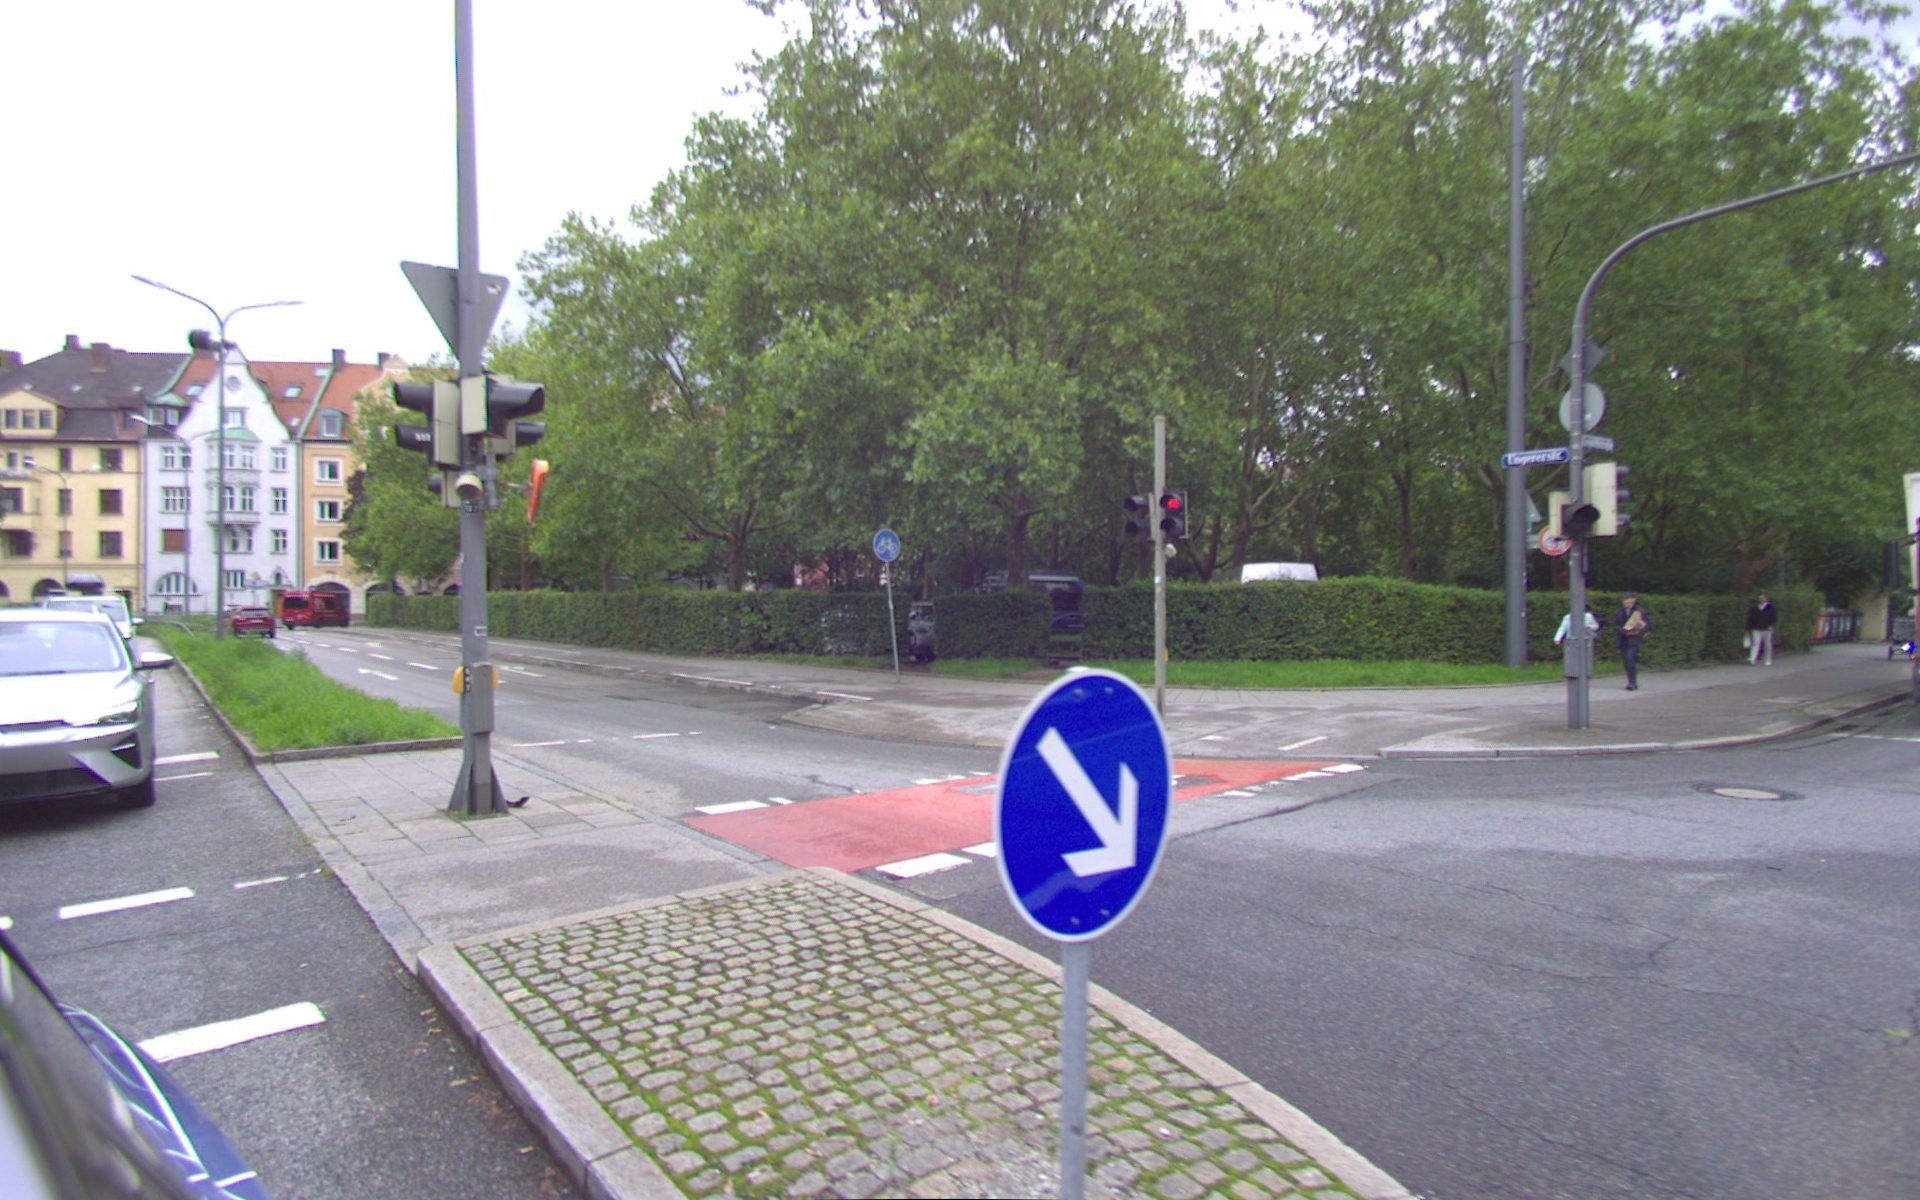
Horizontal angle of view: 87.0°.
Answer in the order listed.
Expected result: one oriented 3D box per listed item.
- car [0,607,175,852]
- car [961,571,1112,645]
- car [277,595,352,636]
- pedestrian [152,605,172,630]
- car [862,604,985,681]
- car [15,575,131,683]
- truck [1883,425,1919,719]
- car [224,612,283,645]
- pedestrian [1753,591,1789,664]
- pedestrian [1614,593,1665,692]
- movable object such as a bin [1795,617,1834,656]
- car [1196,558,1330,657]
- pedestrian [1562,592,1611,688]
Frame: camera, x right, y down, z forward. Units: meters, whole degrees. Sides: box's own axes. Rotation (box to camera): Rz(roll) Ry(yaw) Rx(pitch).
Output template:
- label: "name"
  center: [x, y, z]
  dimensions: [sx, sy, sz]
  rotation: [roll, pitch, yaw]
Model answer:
- label: "car"
  center: [-7.535, 0.846, 8.037]
  dimensions: [1.747, 1.536, 4.219]
  rotation: [-1, 0, -34]
- label: "car"
  center: [2.953, 0.223, 38.260]
  dimensions: [5.768, 2.554, 2.005]
  rotation: [-2, 1, -36]
- label: "car"
  center: [-43.692, 1.094, 68.697]
  dimensions: [2.076, 2.609, 6.093]
  rotation: [0, -2, -10]
- label: "pedestrian"
  center: [-68.229, 1.500, 86.520]
  dimensions: [0.992, 2.029, 0.880]
  rotation: [-1, 1, -8]
- label: "car"
  center: [-0.894, 1.057, 26.815]
  dimensions: [1.769, 1.776, 3.491]
  rotation: [-1, 1, 27]
- label: "car"
  center: [-21.498, 0.671, 24.701]
  dimensions: [1.883, 2.369, 4.954]
  rotation: [1, -1, -39]
- label: "truck"
  center: [18.194, -0.368, 16.680]
  dimensions: [11.529, 4.011, 2.753]
  rotation: [1, -2, -40]
- label: "car"
  center: [-36.516, 1.478, 52.253]
  dimensions: [2.077, 1.650, 4.947]
  rotation: [1, -2, -40]
- label: "pedestrian"
  center: [20.566, 0.687, 25.674]
  dimensions: [0.685, 1.824, 0.653]
  rotation: [-1, -1, 38]
- label: "pedestrian"
  center: [11.841, 0.722, 17.625]
  dimensions: [0.685, 1.676, 0.653]
  rotation: [-1, -1, 38]
- label: "movable object such as a bin"
  center: [31.751, 1.339, 37.598]
  dimensions: [1.258, 1.363, 0.938]
  rotation: [1, 1, -43]
- label: "car"
  center: [7.341, 0.289, 25.058]
  dimensions: [1.973, 2.029, 4.624]
  rotation: [-1, -5, 2]
- label: "pedestrian"
  center: [11.232, 0.707, 18.156]
  dimensions: [0.685, 1.676, 0.547]
  rotation: [-1, -1, 38]
